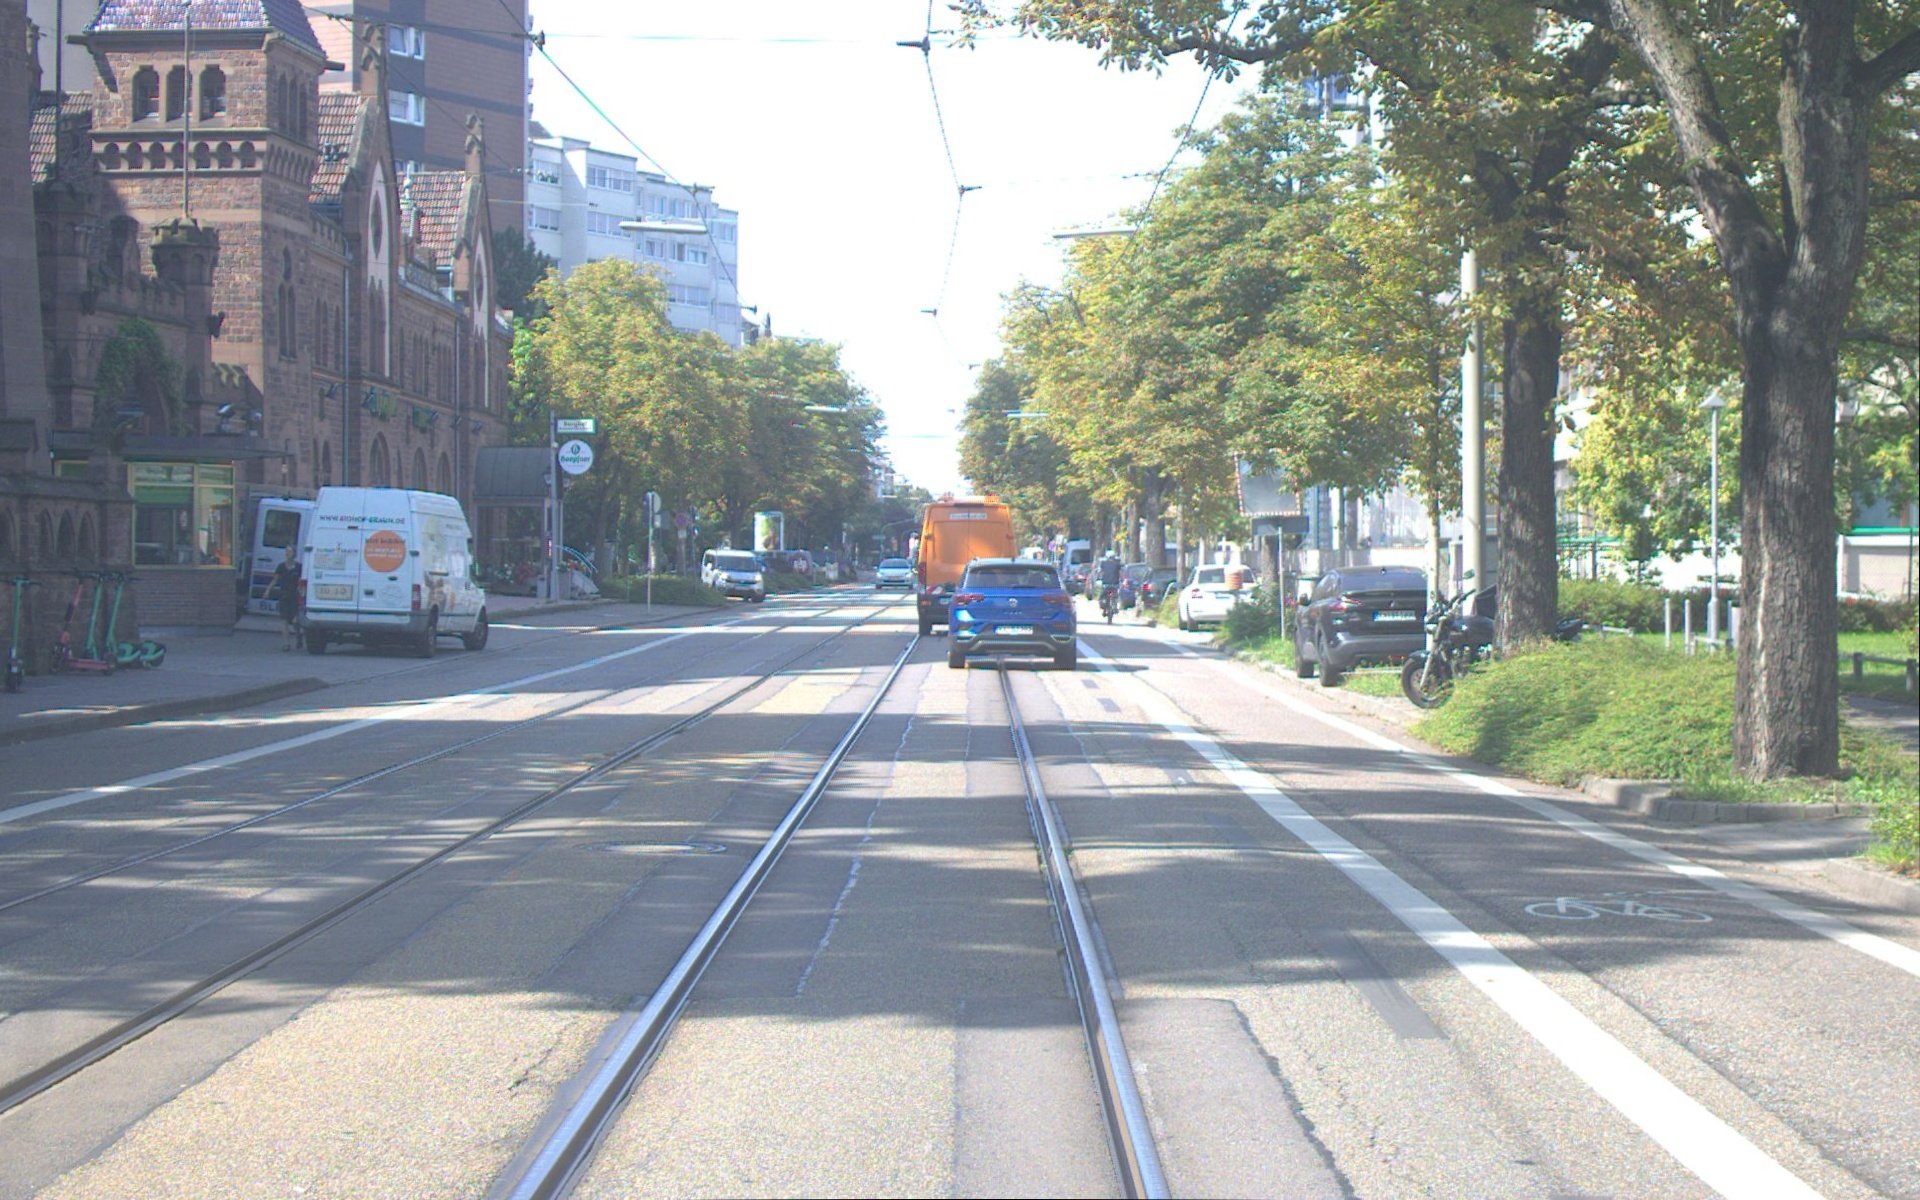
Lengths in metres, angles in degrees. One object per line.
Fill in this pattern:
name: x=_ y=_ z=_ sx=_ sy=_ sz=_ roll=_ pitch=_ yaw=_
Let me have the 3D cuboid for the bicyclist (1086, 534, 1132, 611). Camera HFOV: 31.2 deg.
bicyclist: x=3.539 y=-0.655 z=81.782 sx=1.031 sy=1.806 sz=1.016 roll=1 pitch=1 yaw=0

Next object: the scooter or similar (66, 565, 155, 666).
scooter or similar: x=-10.040 y=0.173 z=40.647 sx=0.340 sy=1.174 sz=1.176 roll=1 pitch=1 yaw=26

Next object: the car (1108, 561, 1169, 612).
car: x=5.524 y=-0.417 z=106.667 sx=1.743 sy=1.550 sz=4.217 roll=0 pitch=0 yaw=1

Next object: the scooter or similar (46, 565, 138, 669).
scooter or similar: x=-9.957 y=0.189 z=39.474 sx=0.340 sy=1.174 sz=1.176 roll=1 pitch=1 yaw=26

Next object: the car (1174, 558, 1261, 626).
car: x=5.718 y=-0.183 z=76.730 sx=1.659 sy=1.476 sz=4.217 roll=0 pitch=0 yaw=1

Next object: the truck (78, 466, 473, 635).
truck: x=-11.941 y=-0.893 z=60.205 sx=6.322 sy=2.529 sz=2.130 roll=4 pitch=2 yaw=5

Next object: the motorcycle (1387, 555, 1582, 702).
motorcycle: x=5.597 y=0.280 z=36.882 sx=0.850 sy=1.511 sz=2.456 roll=1 pitch=1 yaw=-24

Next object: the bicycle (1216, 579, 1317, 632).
bicycle: x=5.696 y=0.095 z=63.972 sx=1.812 sy=0.955 sz=0.558 roll=1 pitch=1 yaw=0

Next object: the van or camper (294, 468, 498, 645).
van or camper: x=-8.985 y=-0.694 z=55.320 sx=2.113 sy=2.666 sz=5.955 roll=1 pitch=1 yaw=2

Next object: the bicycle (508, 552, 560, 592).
bicycle: x=-12.787 y=-0.838 z=103.183 sx=1.451 sy=1.089 sz=0.399 roll=4 pitch=0 yaw=-3

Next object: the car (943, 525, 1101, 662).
car: x=0.865 y=-0.124 z=49.524 sx=2.135 sy=1.852 sz=5.568 roll=0 pitch=1 yaw=0

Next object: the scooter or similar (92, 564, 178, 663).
scooter or similar: x=-10.019 y=0.158 z=41.781 sx=0.340 sy=1.174 sz=1.176 roll=1 pitch=1 yaw=26

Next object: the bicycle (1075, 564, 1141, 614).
bicycle: x=3.498 y=-0.276 z=81.811 sx=1.401 sy=1.130 sz=4.000 roll=1 pitch=1 yaw=0

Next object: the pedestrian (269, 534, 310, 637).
pedestrian: x=-10.492 y=-0.232 z=53.794 sx=0.497 sy=1.593 sz=0.552 roll=1 pitch=1 yaw=1

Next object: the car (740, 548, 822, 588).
car: x=-9.352 y=-1.671 z=179.788 sx=3.989 sy=2.007 sz=1.856 roll=0 pitch=1 yaw=-42

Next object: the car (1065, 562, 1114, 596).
car: x=5.653 y=-0.921 z=150.381 sx=1.908 sy=1.427 sz=4.292 roll=1 pitch=1 yaw=-1

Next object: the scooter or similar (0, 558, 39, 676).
scooter or similar: x=-9.645 y=0.160 z=35.167 sx=0.420 sy=1.174 sz=1.317 roll=1 pitch=1 yaw=-15

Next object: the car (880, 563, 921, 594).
car: x=-2.936 y=-1.064 z=169.466 sx=1.847 sy=1.486 sz=4.867 roll=0 pitch=1 yaw=1

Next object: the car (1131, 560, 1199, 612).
car: x=5.652 y=-0.386 z=95.114 sx=1.659 sy=1.403 sz=4.217 roll=0 pitch=0 yaw=1

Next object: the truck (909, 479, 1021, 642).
truck: x=0.113 y=-0.788 z=68.818 sx=2.135 sy=3.114 sz=6.085 roll=0 pitch=1 yaw=0

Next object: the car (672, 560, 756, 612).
car: x=-8.848 y=-0.512 z=123.592 sx=1.746 sy=1.790 sz=4.001 roll=1 pitch=1 yaw=-24

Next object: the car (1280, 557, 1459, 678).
car: x=5.401 y=0.196 z=45.851 sx=1.756 sy=1.510 sz=4.610 roll=-1 pitch=1 yaw=-1

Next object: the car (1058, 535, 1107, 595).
car: x=5.706 y=-1.653 z=160.968 sx=1.993 sy=2.746 sz=5.761 roll=1 pitch=1 yaw=-1

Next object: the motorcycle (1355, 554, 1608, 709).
motorcycle: x=5.322 y=0.298 z=35.185 sx=2.453 sy=1.511 sz=0.851 roll=1 pitch=1 yaw=39
